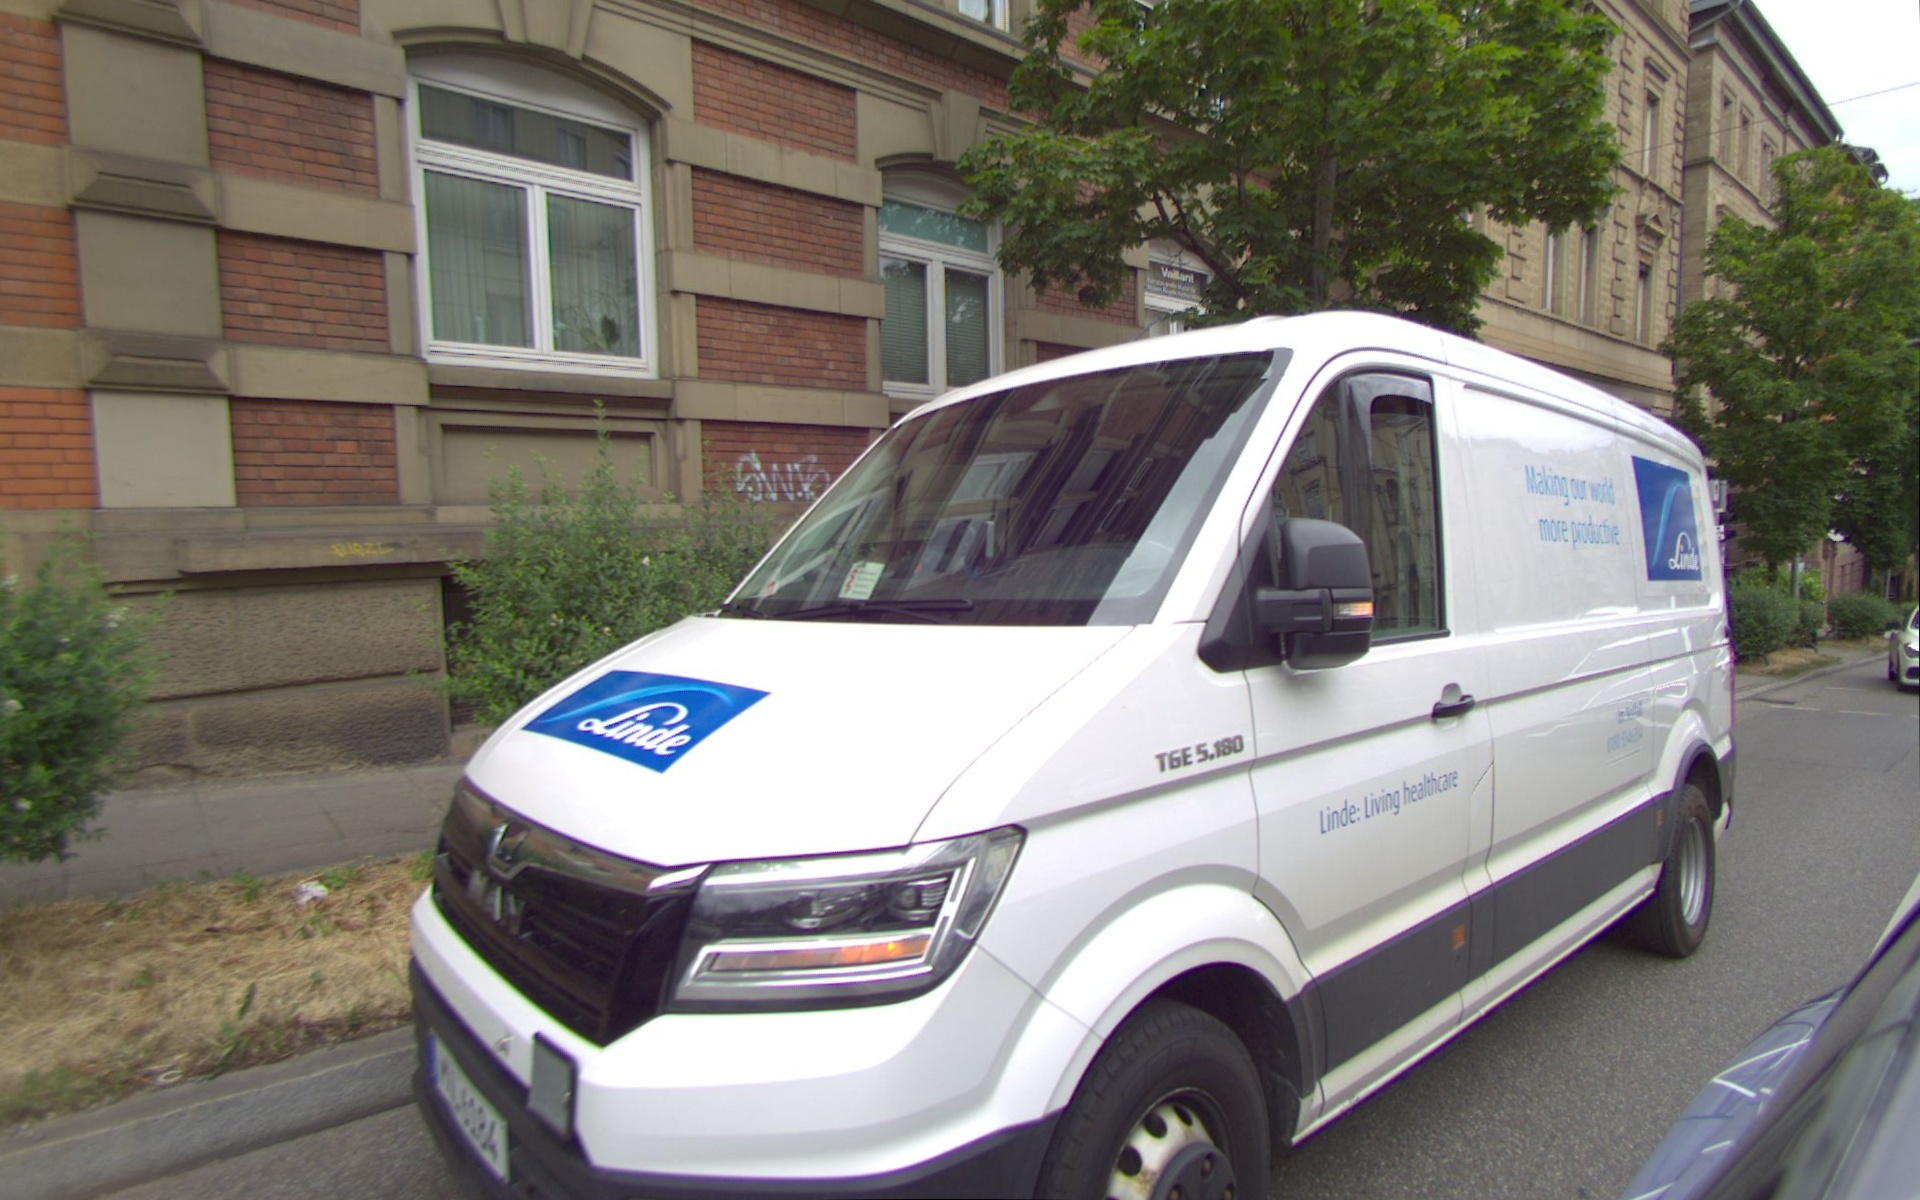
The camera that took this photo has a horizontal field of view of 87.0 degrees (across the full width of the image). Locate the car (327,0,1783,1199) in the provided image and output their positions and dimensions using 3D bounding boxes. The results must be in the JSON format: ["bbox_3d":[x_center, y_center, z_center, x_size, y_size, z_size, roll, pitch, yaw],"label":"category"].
[{"bbox_3d":[1.156,0.200,3.938,5.864,2.316,2.261,0,1,-42],"label":"car"}]

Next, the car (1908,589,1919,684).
[{"bbox_3d":[16.174,0.550,15.917,1.801,1.417,3.938,1,1,43],"label":"car"}]
